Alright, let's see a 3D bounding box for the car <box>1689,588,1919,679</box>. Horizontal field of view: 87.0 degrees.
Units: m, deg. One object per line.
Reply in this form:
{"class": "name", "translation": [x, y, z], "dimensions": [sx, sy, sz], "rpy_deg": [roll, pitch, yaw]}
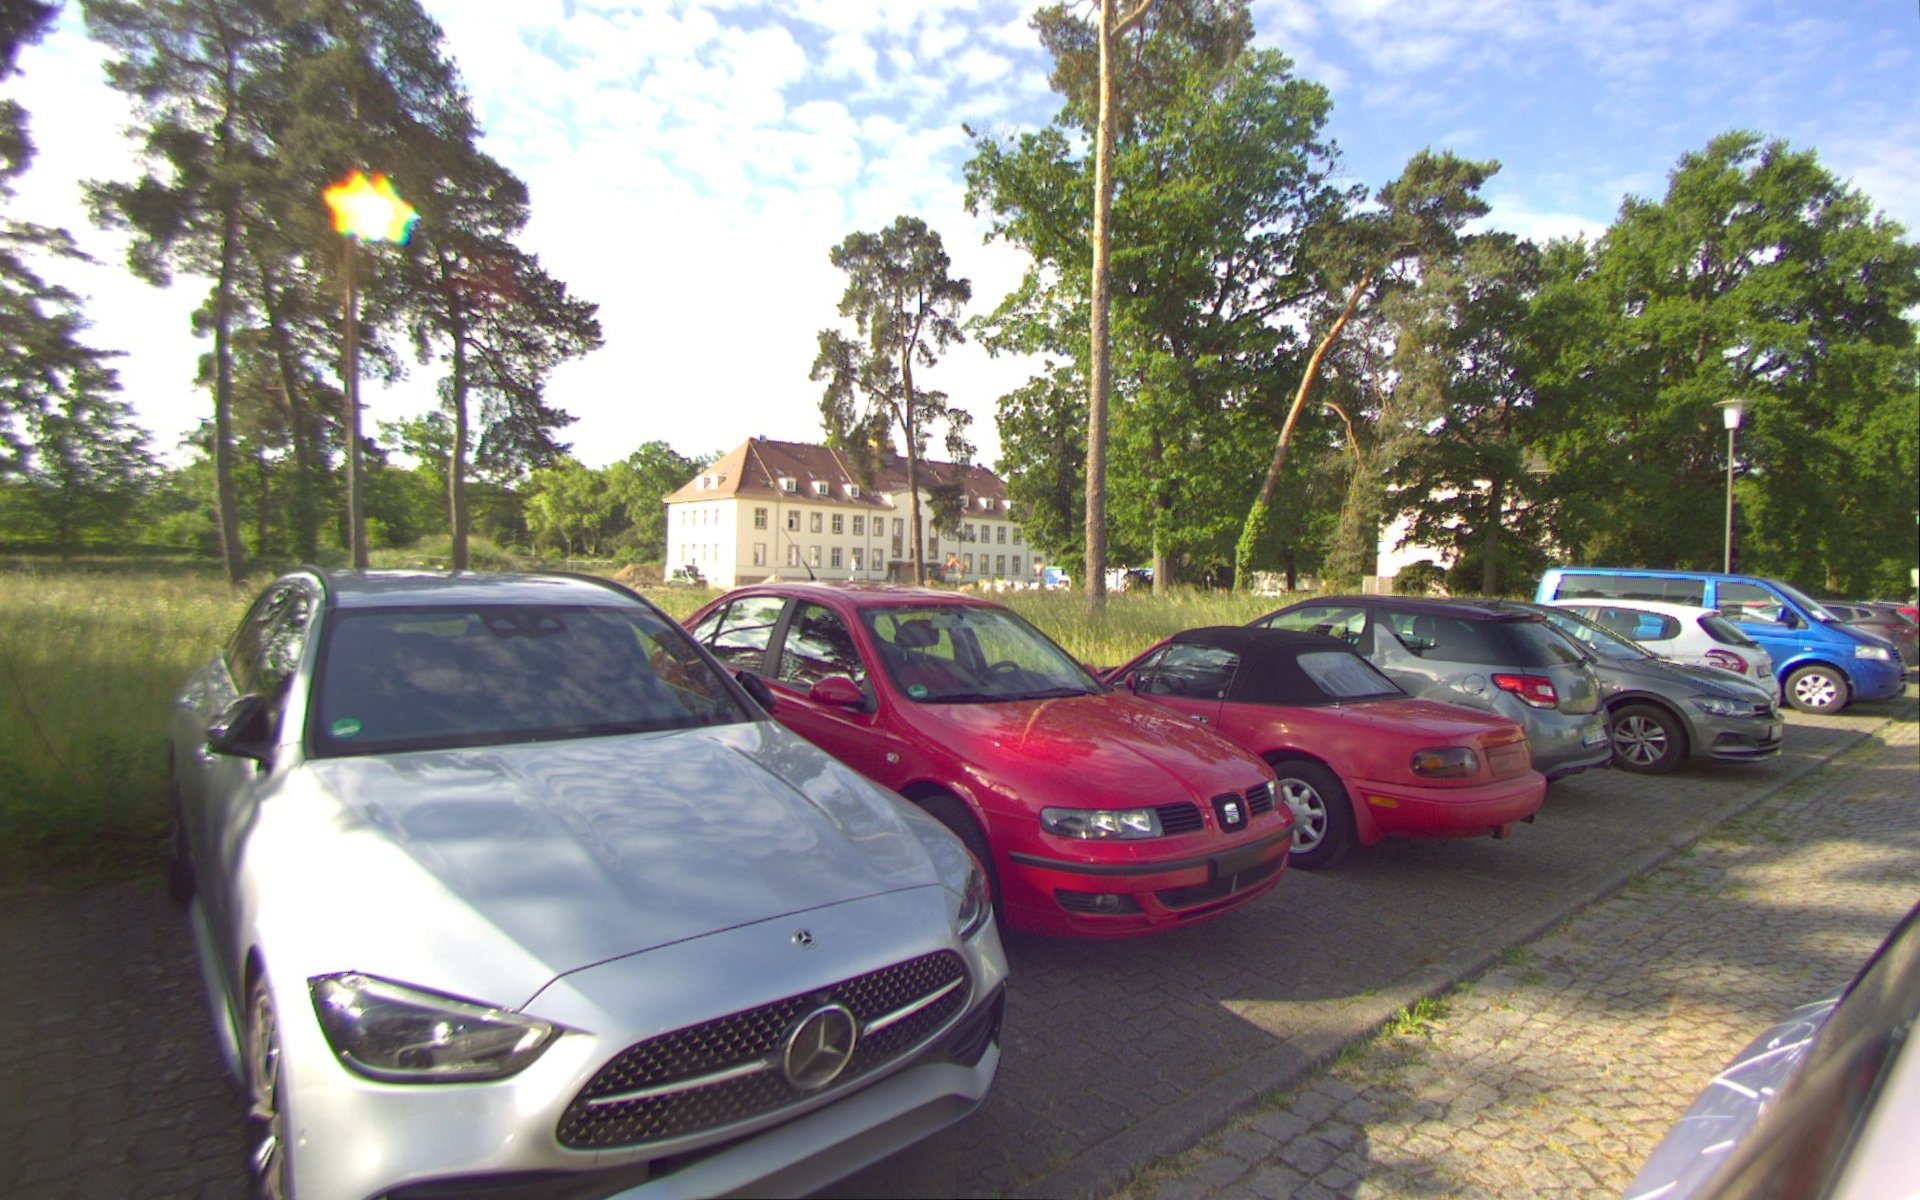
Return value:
{"class": "car", "translation": [18.302, 0.642, 21.683], "dimensions": [1.724, 1.660, 3.998], "rpy_deg": [1, 2, -38]}

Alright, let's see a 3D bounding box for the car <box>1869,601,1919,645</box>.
{"class": "car", "translation": [37.048, 0.844, 38.063], "dimensions": [1.724, 1.635, 3.998], "rpy_deg": [-1, 0, -36]}

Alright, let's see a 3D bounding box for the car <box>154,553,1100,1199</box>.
{"class": "car", "translation": [-1.766, 0.624, 3.830], "dimensions": [1.794, 1.419, 4.420], "rpy_deg": [0, 3, -41]}

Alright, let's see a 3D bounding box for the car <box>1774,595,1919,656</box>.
{"class": "car", "translation": [25.775, 0.693, 28.607], "dimensions": [1.724, 1.537, 3.998], "rpy_deg": [0, 2, -38]}

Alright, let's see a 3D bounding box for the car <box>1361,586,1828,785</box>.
{"class": "car", "translation": [6.034, 0.669, 10.059], "dimensions": [1.478, 1.509, 3.630], "rpy_deg": [1, 2, -31]}

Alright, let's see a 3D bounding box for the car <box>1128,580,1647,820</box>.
{"class": "car", "translation": [3.412, 0.639, 8.639], "dimensions": [1.522, 1.509, 3.777], "rpy_deg": [0, 2, -41]}

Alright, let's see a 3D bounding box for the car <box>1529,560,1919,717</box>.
{"class": "car", "translation": [11.816, 0.441, 15.762], "dimensions": [1.964, 2.038, 4.726], "rpy_deg": [0, 2, -39]}

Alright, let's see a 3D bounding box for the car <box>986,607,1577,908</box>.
{"class": "car", "translation": [1.821, 0.750, 6.474], "dimensions": [1.395, 1.271, 3.354], "rpy_deg": [0, 2, -41]}

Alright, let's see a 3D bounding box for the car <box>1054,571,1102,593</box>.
{"class": "car", "translation": [11.816, -1.791, 101.163], "dimensions": [4.688, 2.039, 1.998], "rpy_deg": [0, 1, -40]}

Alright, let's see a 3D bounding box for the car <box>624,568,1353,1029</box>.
{"class": "car", "translation": [-0.191, 0.619, 5.388], "dimensions": [1.632, 1.410, 3.916], "rpy_deg": [0, 3, -41]}

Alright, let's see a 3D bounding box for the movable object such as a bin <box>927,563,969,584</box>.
{"class": "movable object such as a bin", "translation": [-1.358, -3.134, 118.974], "dimensions": [4.905, 2.351, 1.995], "rpy_deg": [0, 2, -45]}

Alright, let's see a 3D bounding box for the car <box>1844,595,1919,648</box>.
{"class": "car", "translation": [33.451, 0.727, 35.031], "dimensions": [1.724, 1.763, 3.996], "rpy_deg": [-1, 0, -38]}

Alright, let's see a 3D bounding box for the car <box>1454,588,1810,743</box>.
{"class": "car", "translation": [7.923, 0.663, 12.163], "dimensions": [1.423, 1.509, 3.265], "rpy_deg": [1, 2, -38]}
